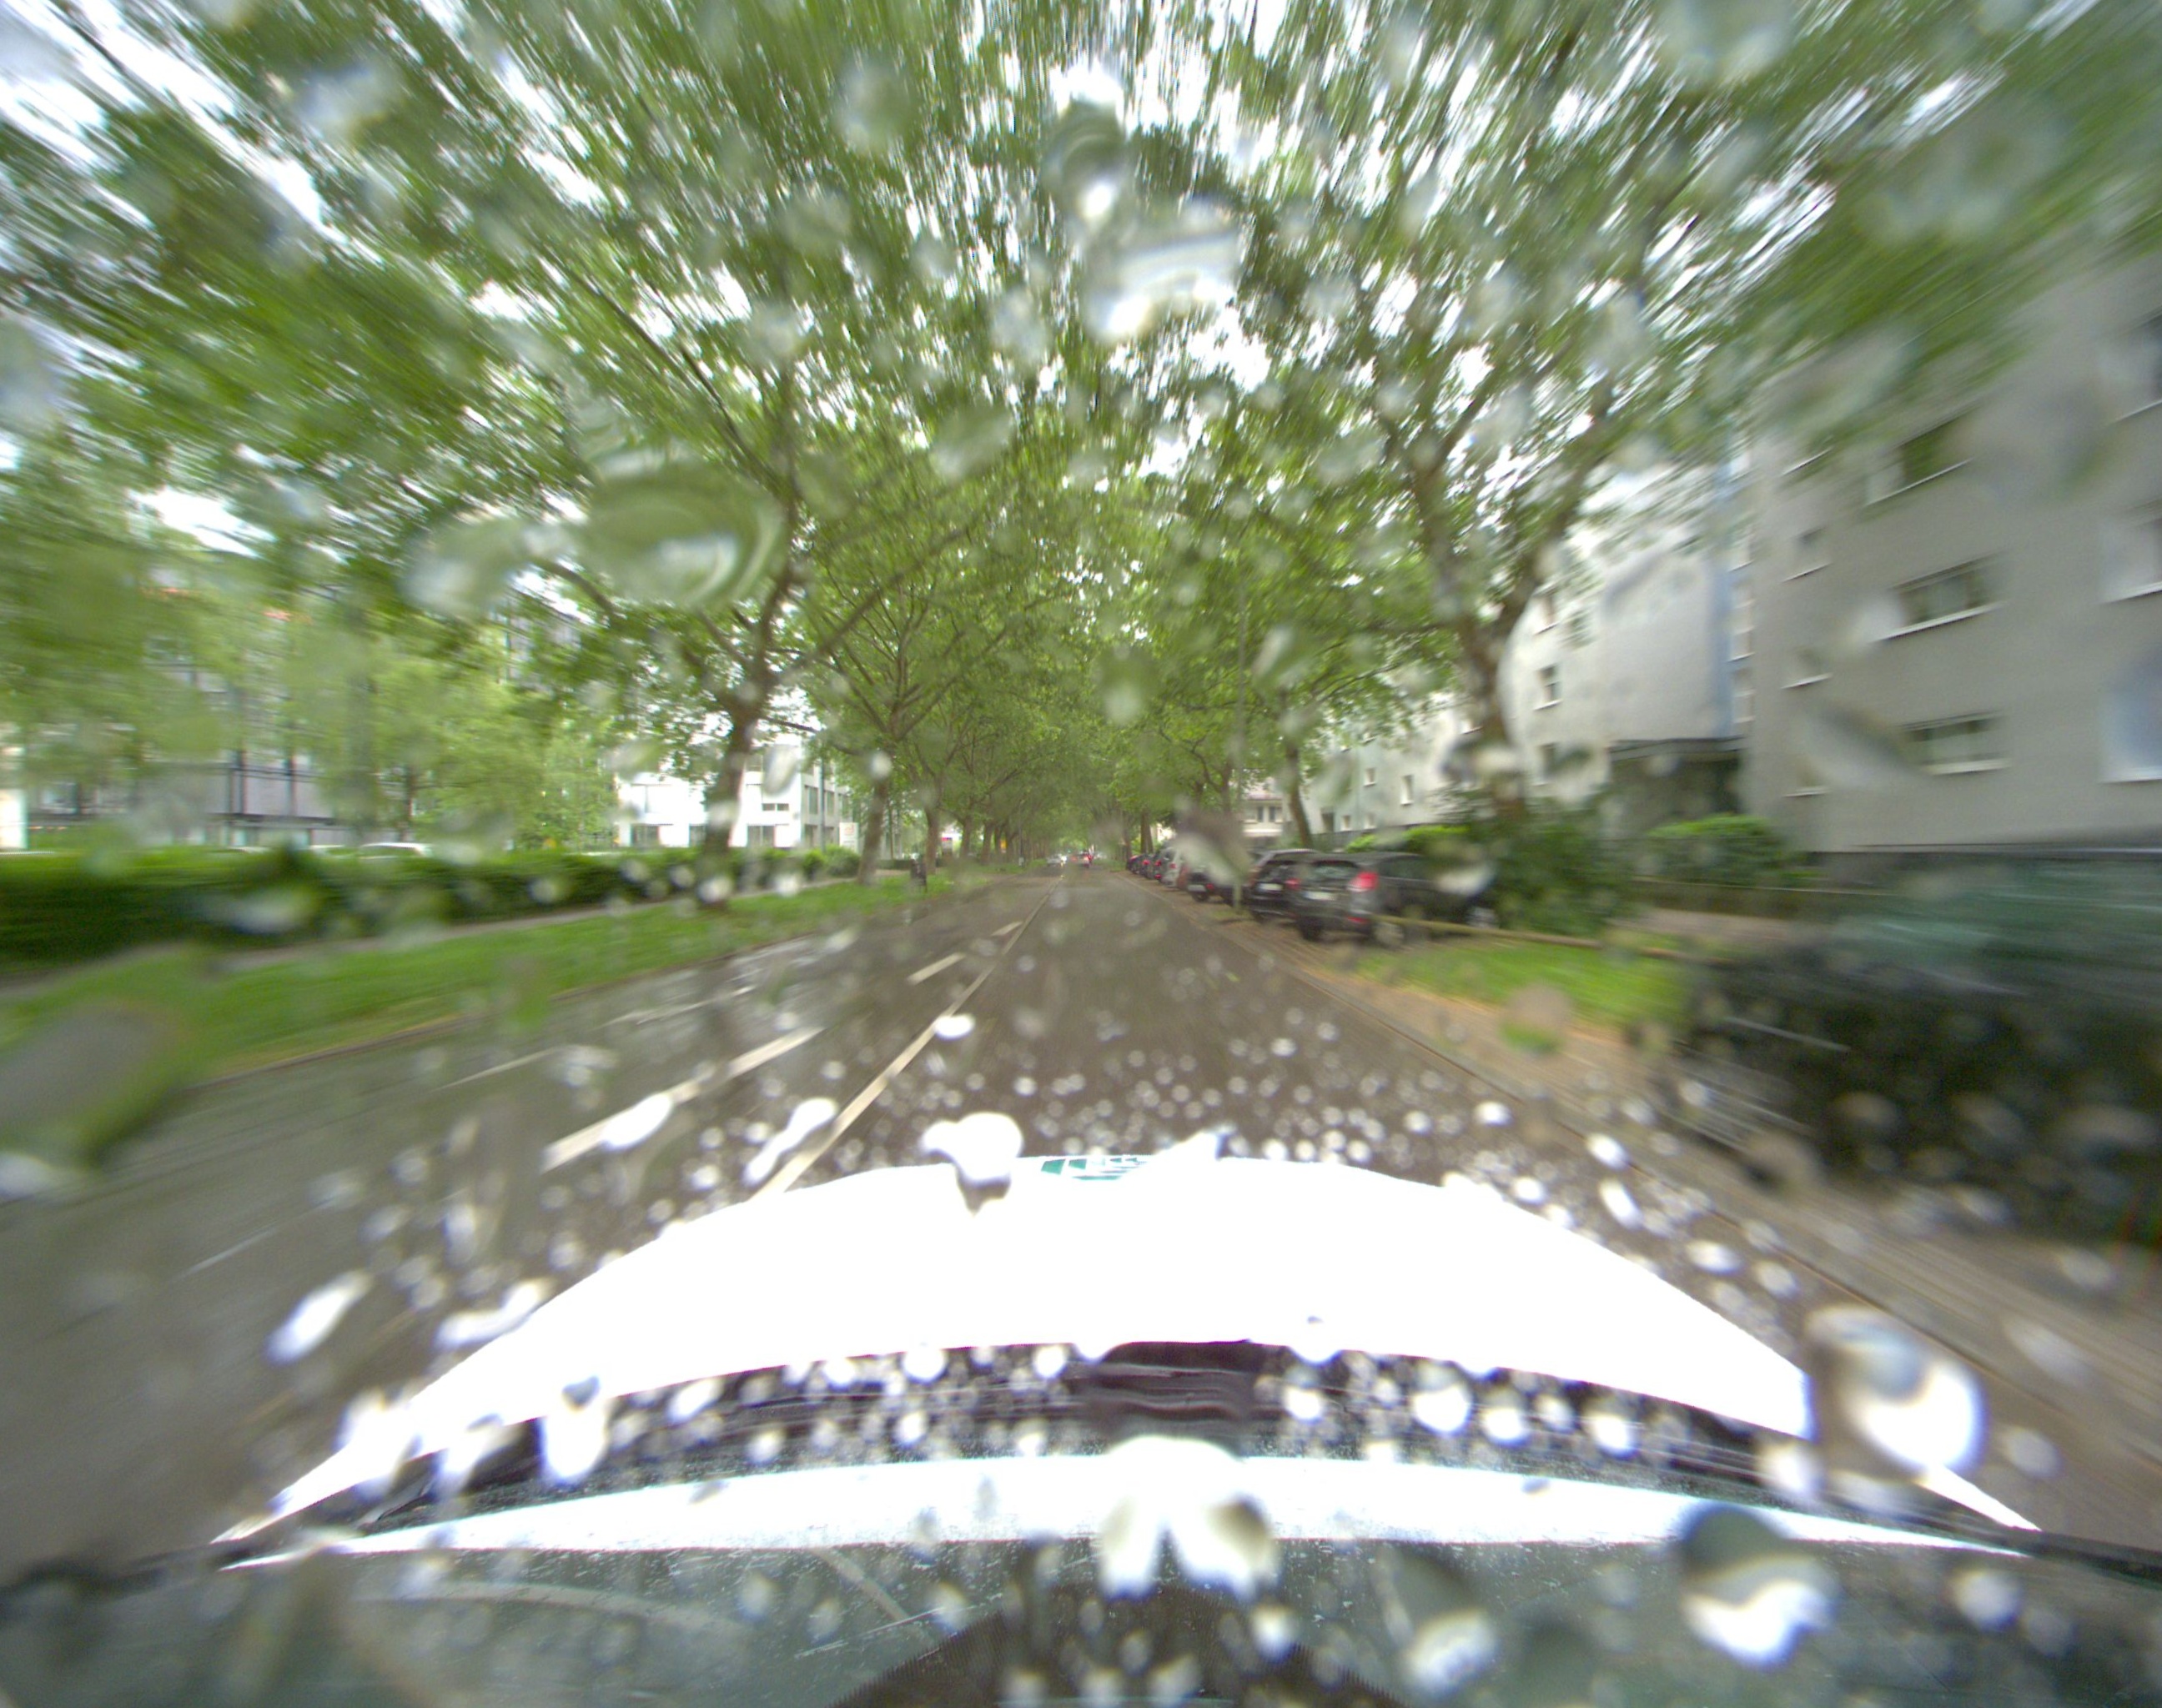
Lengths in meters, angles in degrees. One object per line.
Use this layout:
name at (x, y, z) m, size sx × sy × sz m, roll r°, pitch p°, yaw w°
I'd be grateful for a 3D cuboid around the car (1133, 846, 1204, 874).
car at (5.359, 0.353, 50.168) m, size 4.198 × 1.655 × 1.913 m, roll 0°, pitch 0°, yaw -1°

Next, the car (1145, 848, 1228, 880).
car at (5.234, 0.505, 40.730) m, size 3.974 × 1.537 × 1.631 m, roll 0°, pitch 0°, yaw 0°

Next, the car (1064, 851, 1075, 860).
car at (-2.017, 0.239, 143.723) m, size 1.701 × 1.411 × 3.644 m, roll -2°, pitch 0°, yaw 0°

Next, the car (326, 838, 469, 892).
car at (-27.185, 0.408, 32.483) m, size 3.972 × 2.013 × 2.001 m, roll -1°, pitch 0°, yaw 1°

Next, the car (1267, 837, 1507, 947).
car at (5.152, 0.549, 13.635) m, size 3.780 × 1.601 × 1.786 m, roll 0°, pitch 0°, yaw -30°

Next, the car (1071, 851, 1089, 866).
car at (-0.103, 0.425, 80.458) m, size 1.701 × 1.411 × 3.644 m, roll -2°, pitch 0°, yaw 0°

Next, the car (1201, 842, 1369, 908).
car at (5.413, 0.512, 21.557) m, size 4.009 × 1.601 × 2.017 m, roll 0°, pitch 0°, yaw -28°

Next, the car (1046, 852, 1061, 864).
car at (-3.556, 0.484, 106.518) m, size 1.673 × 1.388 × 4.549 m, roll -1°, pitch 0°, yaw 0°

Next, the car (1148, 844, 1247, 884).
car at (5.374, 0.444, 37.962) m, size 4.324 × 1.762 × 1.818 m, roll 0°, pitch 0°, yaw 0°

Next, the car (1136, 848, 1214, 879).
car at (5.132, 0.498, 44.841) m, size 4.026 × 1.441 × 1.684 m, roll -3°, pitch 1°, yaw -4°

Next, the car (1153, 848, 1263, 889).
car at (4.921, 0.548, 31.886) m, size 3.977 × 1.513 × 1.800 m, roll 0°, pitch 0°, yaw -2°

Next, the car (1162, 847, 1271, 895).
car at (4.865, 0.598, 29.575) m, size 3.688 × 1.536 × 1.739 m, roll -2°, pitch 0°, yaw 2°

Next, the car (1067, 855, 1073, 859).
car at (-3.587, 0.841, 261.076) m, size 1.714 × 1.255 × 4.000 m, roll 0°, pitch 0°, yaw 0°

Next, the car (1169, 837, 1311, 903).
car at (4.757, 0.423, 24.296) m, size 3.878 × 1.697 × 1.821 m, roll -3°, pitch 2°, yaw -28°

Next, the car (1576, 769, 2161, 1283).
car at (4.086, 0.548, 3.552) m, size 1.690 × 1.652 × 2.930 m, roll 0°, pitch 0°, yaw -16°

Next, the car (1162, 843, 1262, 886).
car at (5.457, 0.419, 34.276) m, size 3.973 × 1.727 × 1.801 m, roll 0°, pitch 0°, yaw 0°

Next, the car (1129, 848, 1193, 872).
car at (5.241, 0.407, 53.764) m, size 4.032 × 1.530 × 1.779 m, roll 0°, pitch 0°, yaw -3°

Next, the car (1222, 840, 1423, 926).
car at (5.091, 0.537, 17.063) m, size 4.012 × 1.601 × 1.786 m, roll 0°, pitch 0°, yaw -31°
